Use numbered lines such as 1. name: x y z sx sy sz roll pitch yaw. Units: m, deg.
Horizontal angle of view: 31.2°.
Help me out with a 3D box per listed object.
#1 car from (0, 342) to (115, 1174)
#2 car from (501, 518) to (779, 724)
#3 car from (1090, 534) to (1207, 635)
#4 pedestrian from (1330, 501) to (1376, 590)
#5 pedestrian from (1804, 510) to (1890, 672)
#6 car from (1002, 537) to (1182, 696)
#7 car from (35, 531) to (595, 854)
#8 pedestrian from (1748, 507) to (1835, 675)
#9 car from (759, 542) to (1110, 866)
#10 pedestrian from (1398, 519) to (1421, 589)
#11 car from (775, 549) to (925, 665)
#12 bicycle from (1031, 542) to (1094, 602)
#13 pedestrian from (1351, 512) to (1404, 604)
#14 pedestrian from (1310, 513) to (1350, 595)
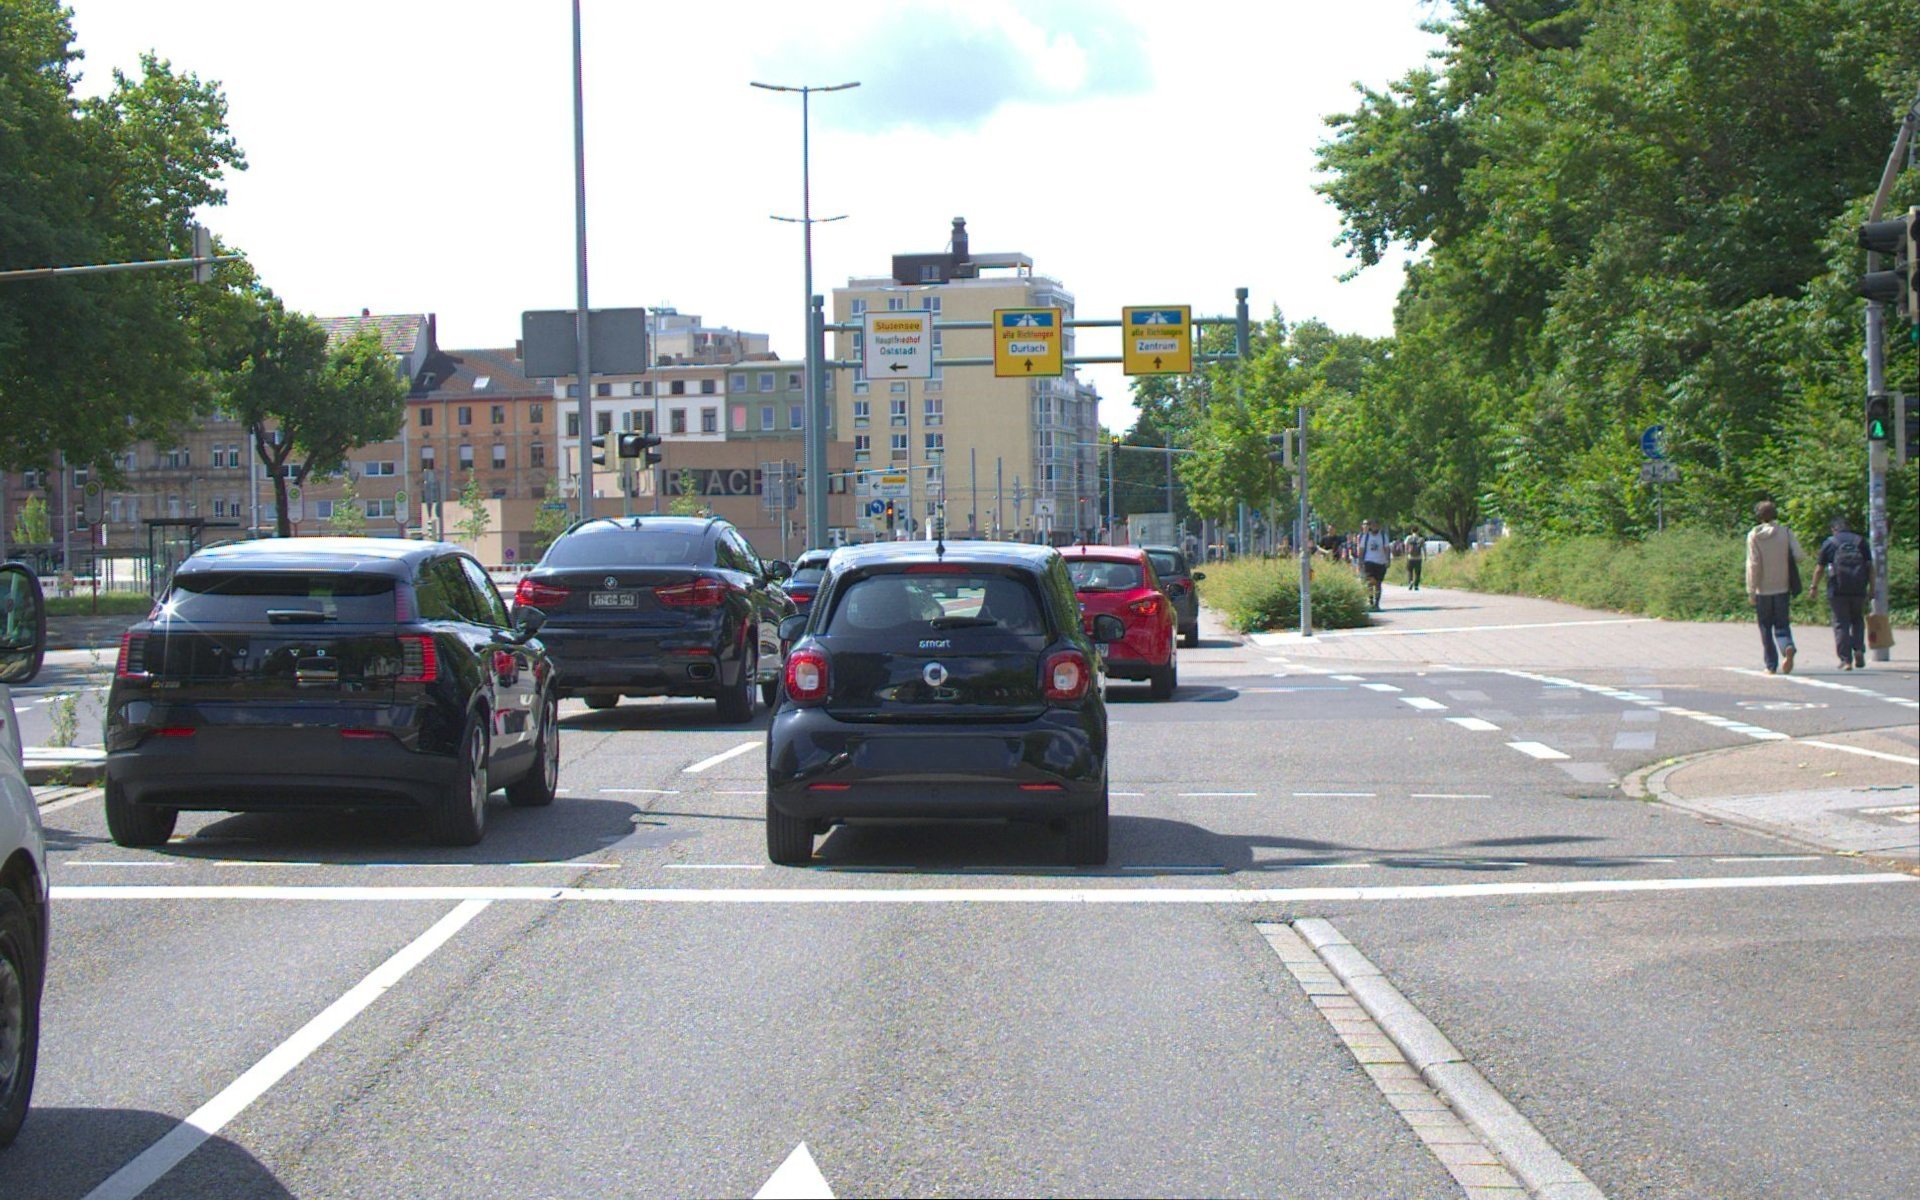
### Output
1. car: -3.240 0.400 6.573 2.006 1.948 5.194 0 1 -1
2. car: -2.622 0.109 29.116 1.827 1.595 4.393 0 2 2
3. car: 2.752 -0.260 50.770 1.611 1.406 3.517 1 1 2
4. pedestrian: 8.386 -1.163 73.431 0.838 1.861 1.019 -1 1 0
5. pedestrian: 9.490 -0.112 36.803 0.795 1.698 1.182 0 2 10
6. car: 1.251 0.116 32.989 1.611 1.406 3.517 1 1 2
7. car: -3.323 0.393 18.767 2.017 1.525 4.887 0 1 2
8. pedestrian: 8.571 -0.106 35.461 0.795 1.698 1.182 0 2 10
9. car: -0.069 0.457 17.598 1.611 1.480 3.517 0 1 2
10. pedestrian: 12.153 -1.246 92.943 0.501 1.884 0.560 1 0 -1
11. car: -1.299 0.055 41.850 1.611 1.320 3.517 -1 1 2
12. bicycle: 3.517 -0.967 118.523 1.993 2.007 4.000 1 1 0
13. pedestrian: 7.819 -0.786 64.460 0.851 1.695 0.931 -2 0 2
14. pedestrian: 8.883 -1.104 82.618 0.838 1.962 0.861 -1 1 0
